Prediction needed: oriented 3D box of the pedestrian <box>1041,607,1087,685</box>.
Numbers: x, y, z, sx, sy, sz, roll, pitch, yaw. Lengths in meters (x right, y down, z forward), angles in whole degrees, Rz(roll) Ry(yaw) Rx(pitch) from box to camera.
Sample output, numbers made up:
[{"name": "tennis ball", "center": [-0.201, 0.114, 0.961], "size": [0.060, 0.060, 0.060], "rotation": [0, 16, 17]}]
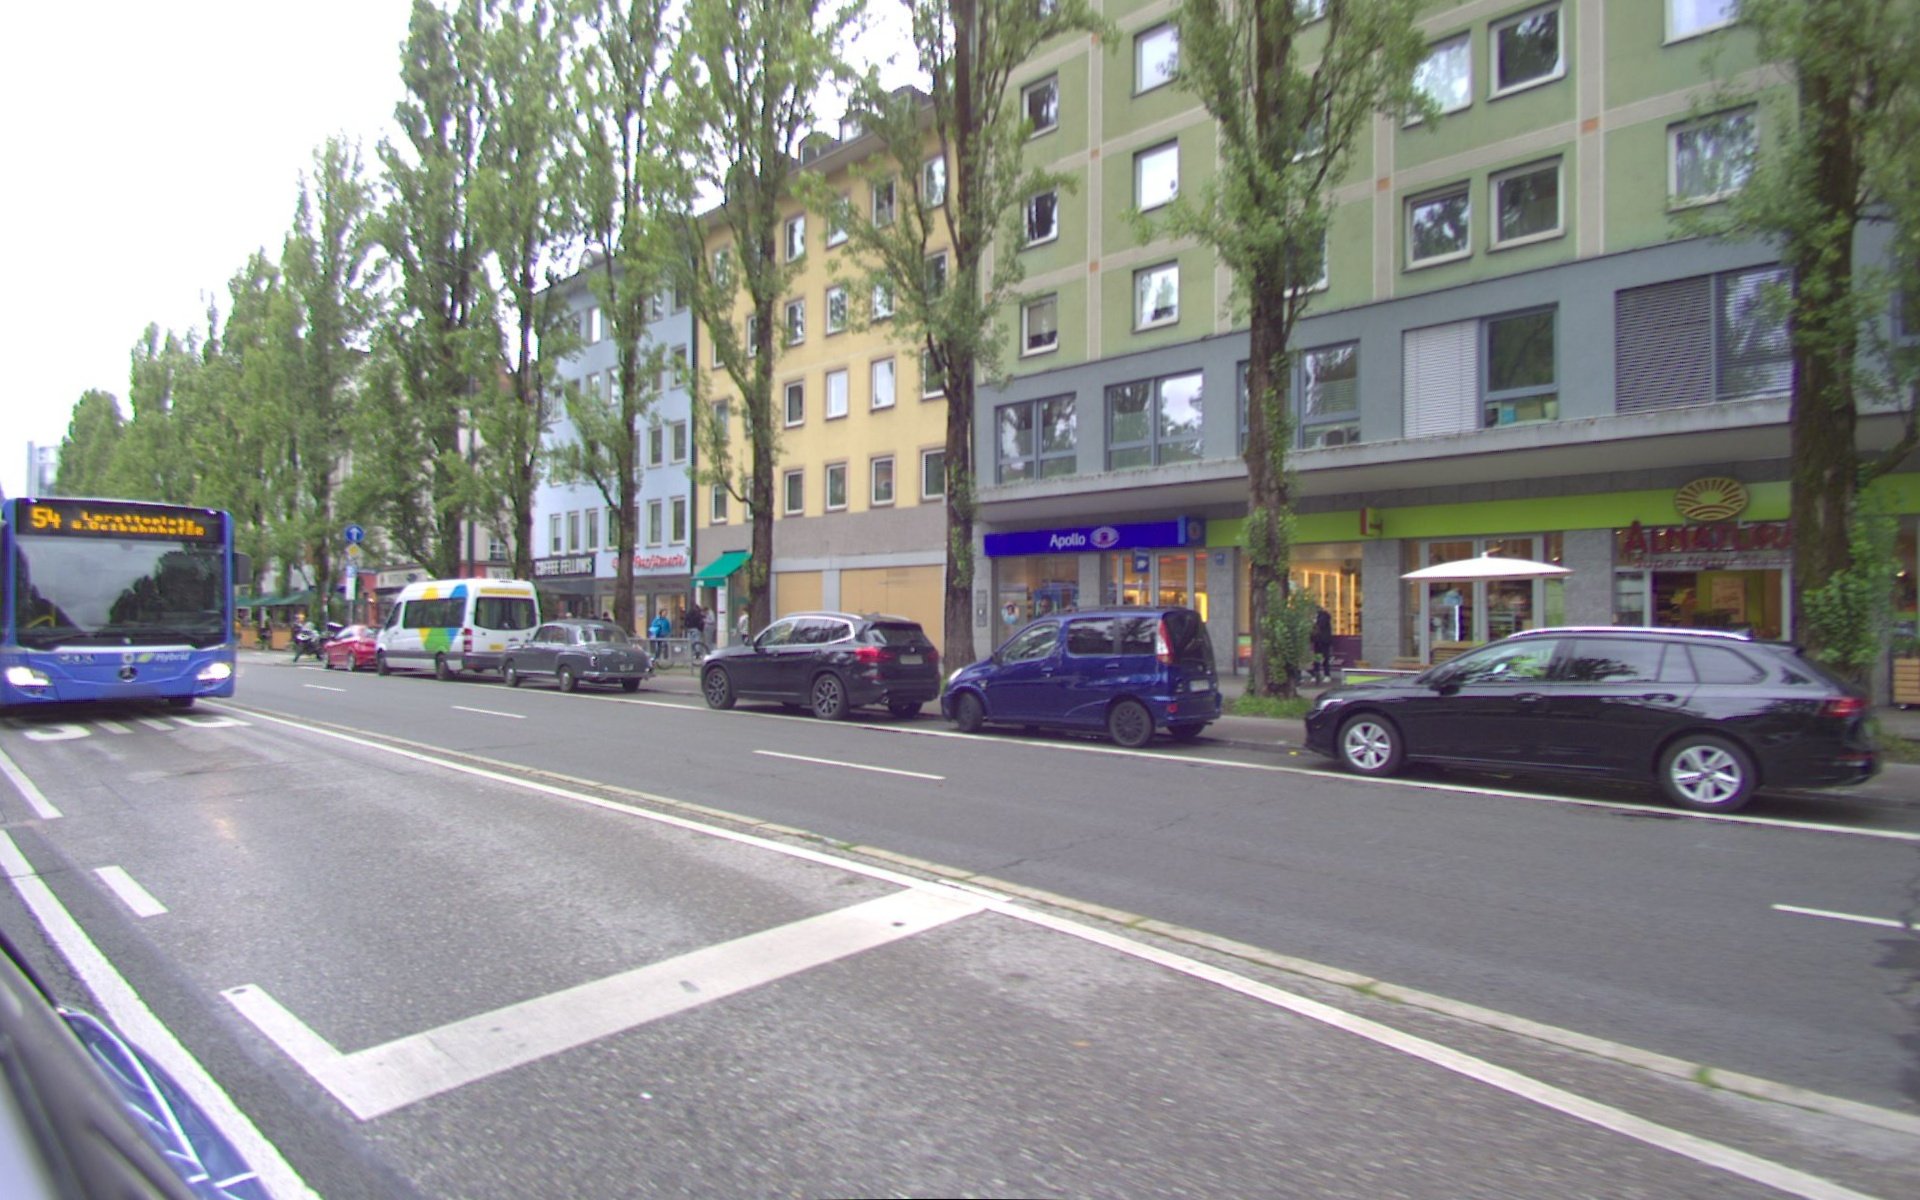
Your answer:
[{"name": "pedestrian", "center": [2.270, 0.994, 22.153], "size": [0.712, 1.663, 0.713], "rotation": [-2, -2, 43]}]

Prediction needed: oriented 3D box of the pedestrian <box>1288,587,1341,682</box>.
[{"name": "pedestrian", "center": [6.927, 0.654, 19.787], "size": [0.716, 1.808, 0.739], "rotation": [-2, -1, 43]}]

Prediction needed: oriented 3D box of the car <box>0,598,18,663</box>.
[{"name": "car", "center": [-35.495, 1.120, 36.382], "size": [4.409, 2.265, 1.998], "rotation": [-1, 0, 42]}]

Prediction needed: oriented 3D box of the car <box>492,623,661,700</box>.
[{"name": "car", "center": [-8.612, 1.307, 22.577], "size": [4.258, 1.541, 1.685], "rotation": [-1, -3, 41]}]

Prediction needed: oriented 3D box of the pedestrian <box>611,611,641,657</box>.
[{"name": "pedestrian", "center": [-10.704, 1.074, 32.430], "size": [0.676, 1.449, 0.603], "rotation": [-1, -2, 31]}]

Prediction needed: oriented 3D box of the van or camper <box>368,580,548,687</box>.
[{"name": "van or camper", "center": [-13.710, 0.913, 27.373], "size": [6.643, 2.570, 2.102], "rotation": [-2, -3, 43]}]

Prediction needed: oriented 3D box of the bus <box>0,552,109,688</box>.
[{"name": "bus", "center": [-25.020, 0.552, 26.370], "size": [12.857, 2.925, 2.768], "rotation": [-1, -2, 43]}]

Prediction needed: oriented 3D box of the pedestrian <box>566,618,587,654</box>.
[{"name": "pedestrian", "center": [-15.609, 1.469, 41.206], "size": [0.551, 1.449, 0.601], "rotation": [-1, -2, 43]}]

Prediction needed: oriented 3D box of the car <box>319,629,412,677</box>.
[{"name": "car", "center": [-18.764, 1.630, 31.868], "size": [3.761, 1.422, 1.538], "rotation": [-1, -2, 43]}]

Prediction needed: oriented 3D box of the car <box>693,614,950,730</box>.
[{"name": "car", "center": [-2.384, 1.074, 16.594], "size": [4.503, 1.645, 1.685], "rotation": [-1, -3, 42]}]

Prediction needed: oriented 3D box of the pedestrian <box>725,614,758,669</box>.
[{"name": "pedestrian", "center": [-6.693, 1.273, 31.008], "size": [0.712, 1.663, 0.713], "rotation": [-2, -2, 43]}]

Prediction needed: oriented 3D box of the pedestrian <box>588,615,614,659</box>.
[{"name": "pedestrian", "center": [-13.974, 1.437, 39.419], "size": [0.678, 1.663, 0.713], "rotation": [-2, -2, 43]}]

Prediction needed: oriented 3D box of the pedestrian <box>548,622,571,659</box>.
[{"name": "pedestrian", "center": [-15.617, 1.566, 39.426], "size": [0.550, 1.449, 0.641], "rotation": [-1, -2, 37]}]

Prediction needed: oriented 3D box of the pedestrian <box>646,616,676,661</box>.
[{"name": "pedestrian", "center": [-9.826, 1.251, 33.241], "size": [0.550, 1.449, 0.759], "rotation": [-1, -2, 37]}]

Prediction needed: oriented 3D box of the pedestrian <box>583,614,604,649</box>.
[{"name": "pedestrian", "center": [-15.106, 1.305, 41.735], "size": [0.550, 1.449, 0.602], "rotation": [-1, -2, 38]}]

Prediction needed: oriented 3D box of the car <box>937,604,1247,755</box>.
[{"name": "car", "center": [1.649, 0.957, 13.306], "size": [3.768, 1.699, 1.601], "rotation": [-1, -4, 40]}]

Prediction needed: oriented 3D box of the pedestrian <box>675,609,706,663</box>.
[{"name": "pedestrian", "center": [-9.031, 1.198, 33.942], "size": [0.723, 1.779, 0.723], "rotation": [-2, -2, 41]}]

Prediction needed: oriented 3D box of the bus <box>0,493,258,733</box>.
[{"name": "bus", "center": [-15.552, 0.294, 17.597], "size": [12.856, 2.925, 2.769], "rotation": [-1, -2, 43]}]

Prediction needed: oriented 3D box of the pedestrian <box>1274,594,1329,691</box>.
[{"name": "pedestrian", "center": [6.522, 0.793, 19.317], "size": [0.716, 1.808, 0.739], "rotation": [-2, -1, 43]}]

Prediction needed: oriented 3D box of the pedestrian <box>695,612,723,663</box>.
[{"name": "pedestrian", "center": [-8.570, 1.259, 34.517], "size": [0.724, 1.717, 0.632], "rotation": [-2, -2, 42]}]

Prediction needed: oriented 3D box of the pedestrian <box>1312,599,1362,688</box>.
[{"name": "pedestrian", "center": [7.678, 0.871, 20.614], "size": [0.716, 1.768, 0.714], "rotation": [-2, -1, 43]}]

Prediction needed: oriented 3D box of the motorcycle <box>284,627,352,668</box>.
[{"name": "motorcycle", "center": [-23.137, 1.691, 36.534], "size": [0.569, 1.432, 1.999], "rotation": [-1, -2, 35]}]

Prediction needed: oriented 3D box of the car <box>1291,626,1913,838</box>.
[{"name": "car", "center": [5.601, 0.991, 9.336], "size": [4.585, 1.457, 1.685], "rotation": [-1, -2, 42]}]
